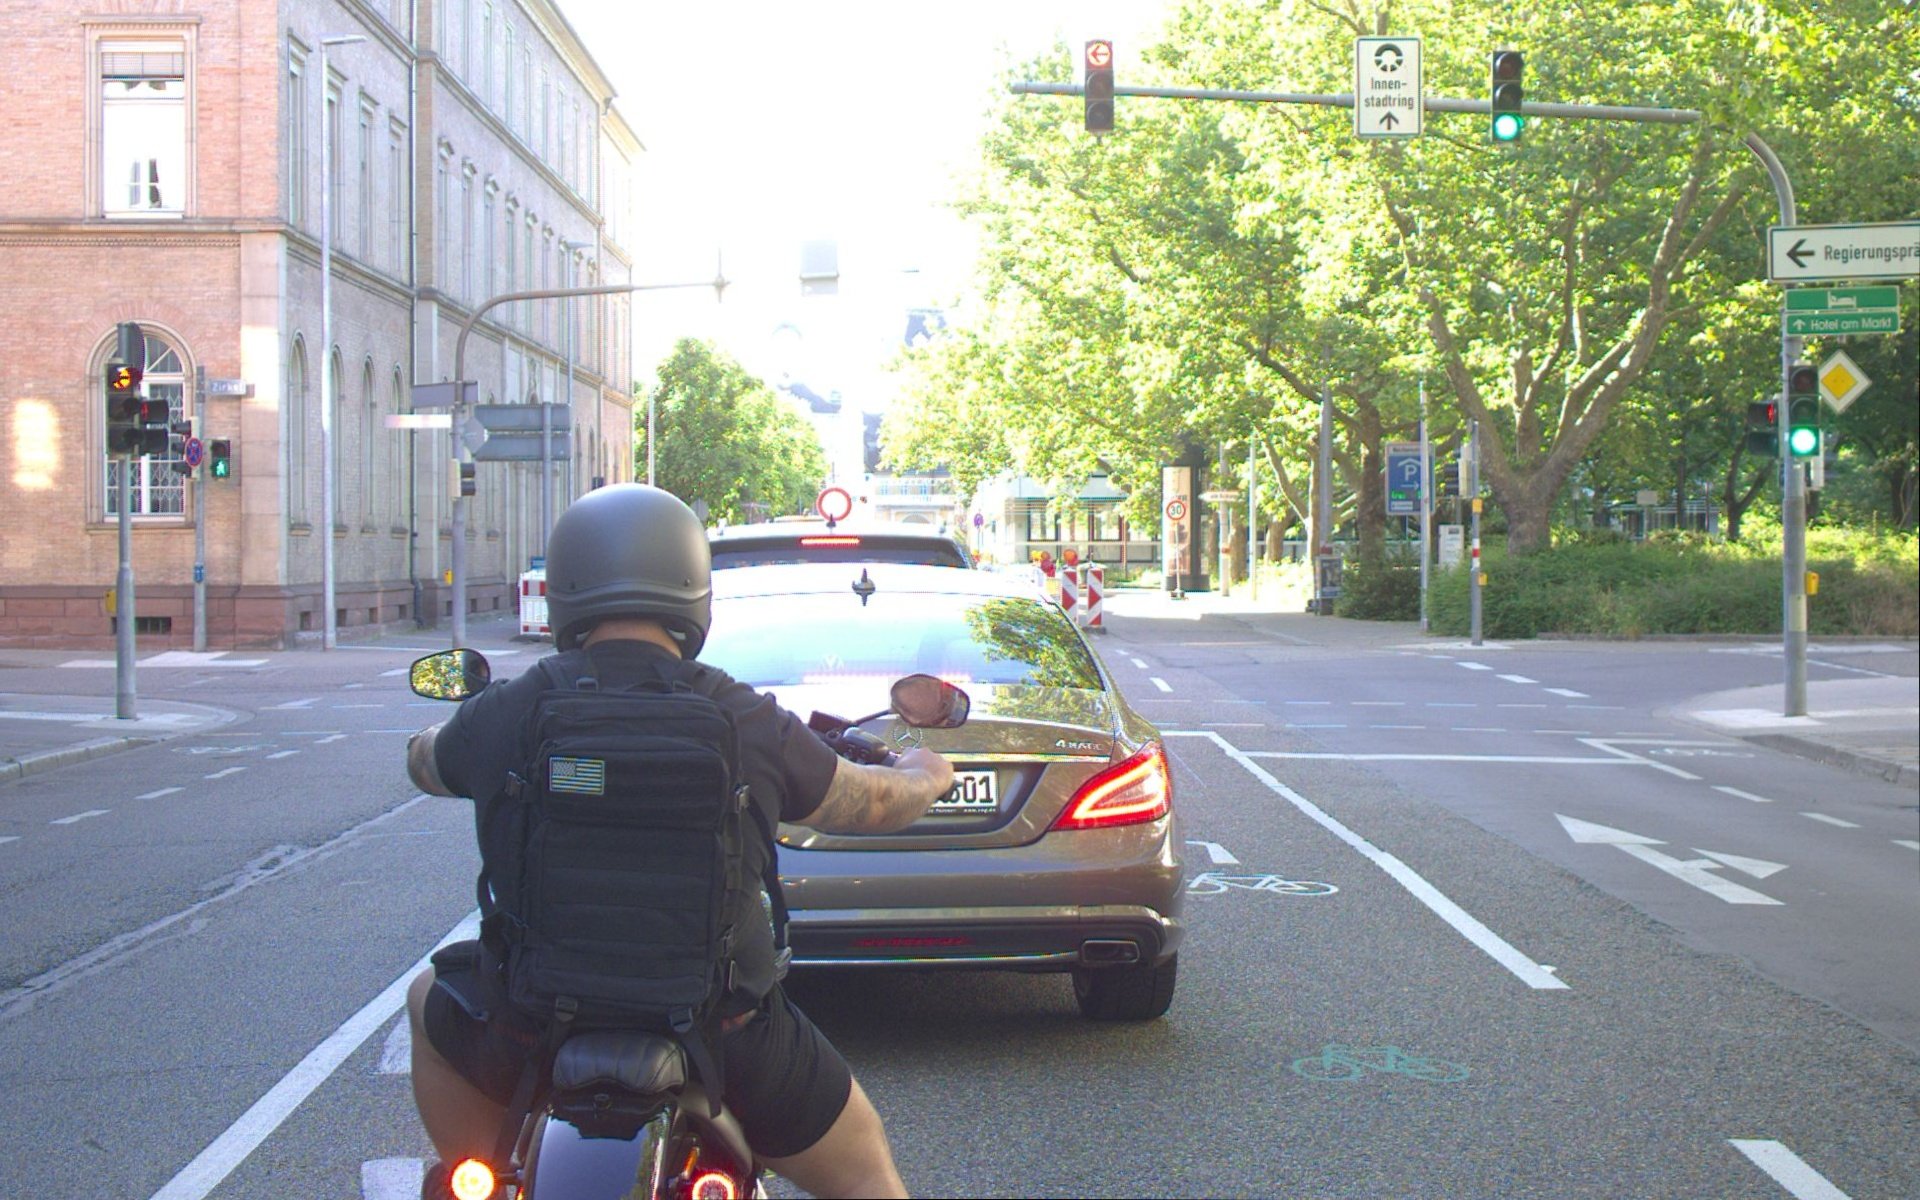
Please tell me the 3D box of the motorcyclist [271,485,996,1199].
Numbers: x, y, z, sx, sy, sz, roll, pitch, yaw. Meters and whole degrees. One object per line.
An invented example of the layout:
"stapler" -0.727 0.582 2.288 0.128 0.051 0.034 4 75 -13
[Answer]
"motorcyclist" -0.453 0.626 5.409 0.989 1.591 1.404 0 1 -1

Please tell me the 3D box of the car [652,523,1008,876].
"car" -0.638 0.410 17.769 1.612 1.602 4.329 0 1 -1

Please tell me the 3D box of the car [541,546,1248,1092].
"car" -0.432 0.560 11.603 1.945 1.468 4.363 0 1 -7

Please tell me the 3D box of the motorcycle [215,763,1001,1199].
"motorcycle" -0.457 0.882 5.567 0.989 1.075 2.452 0 1 -1
